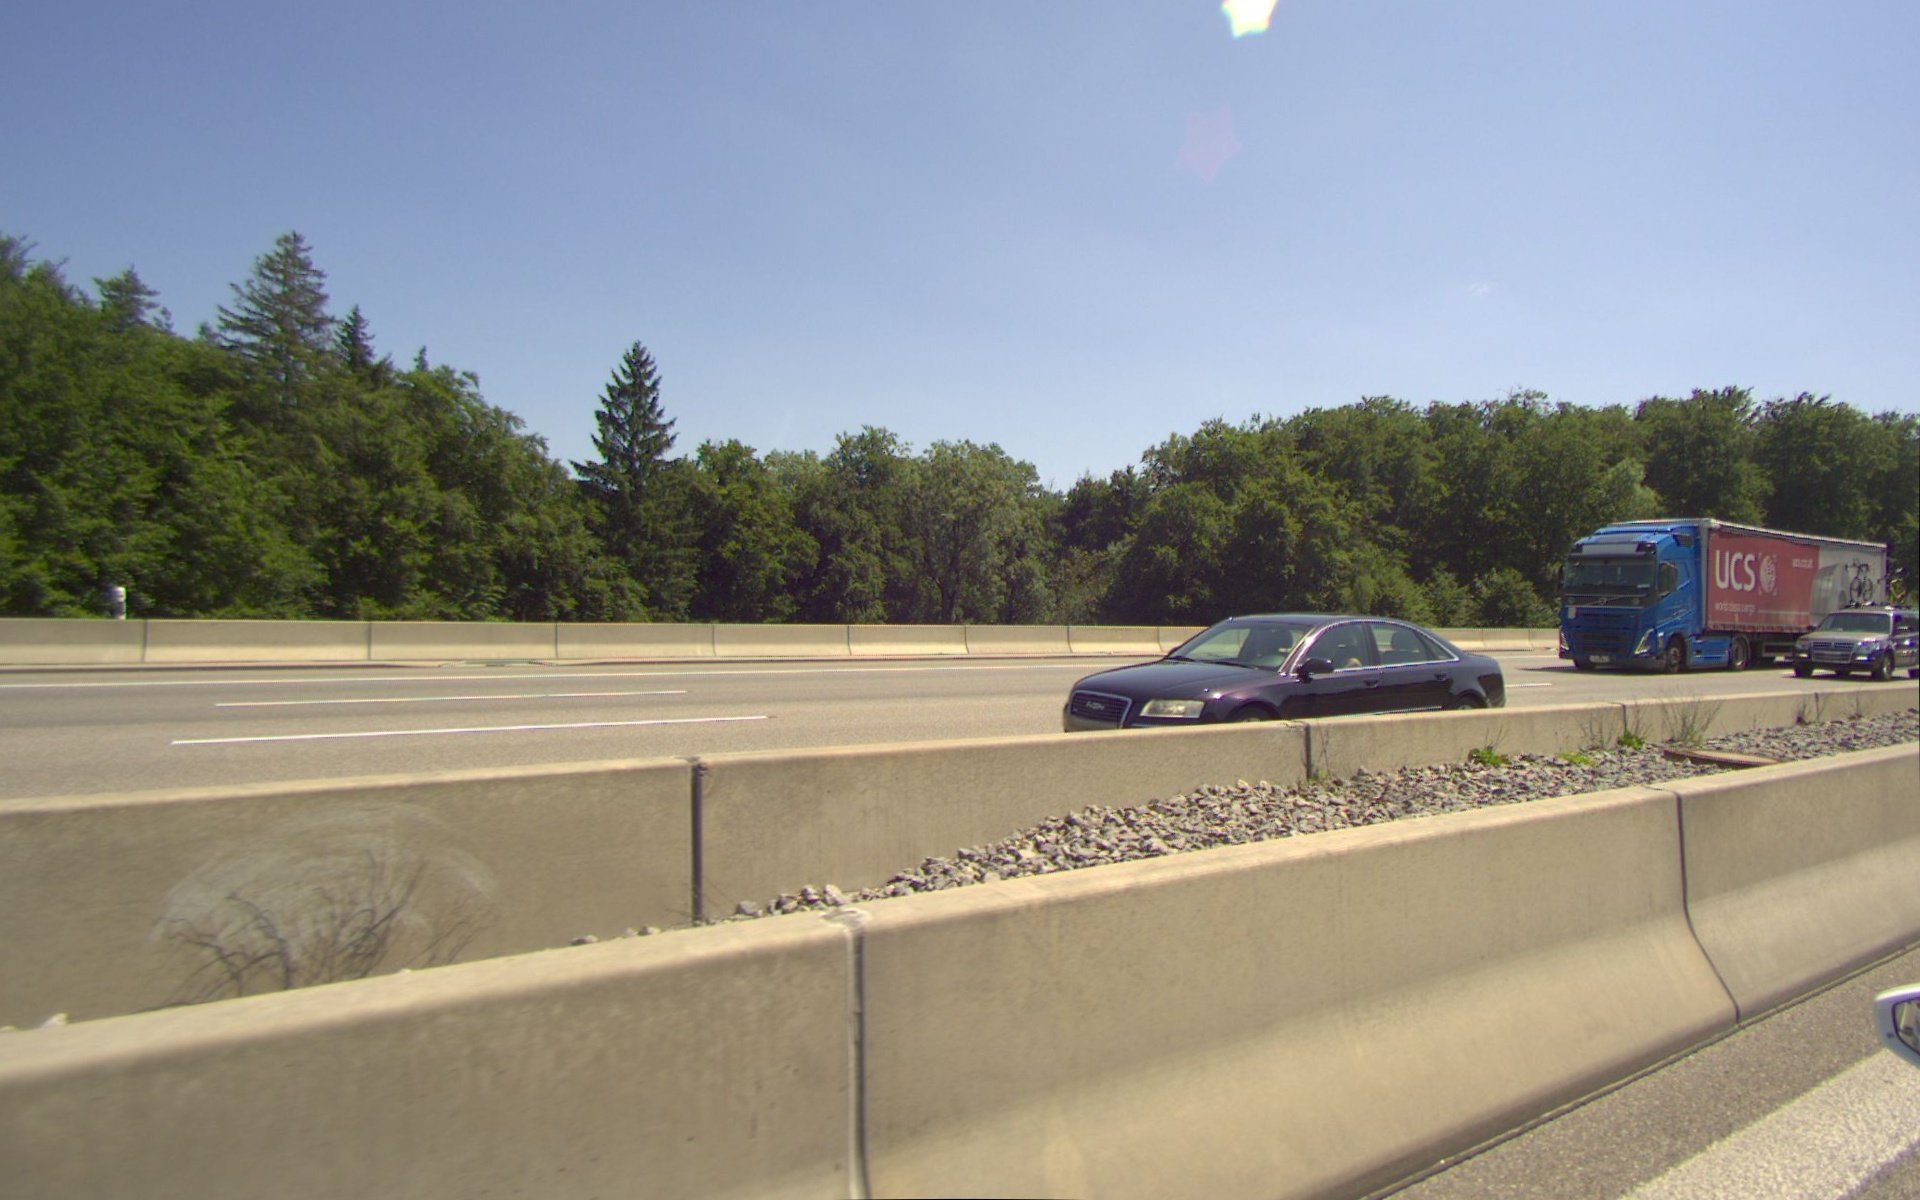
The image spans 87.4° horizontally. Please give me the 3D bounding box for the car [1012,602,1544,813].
[{"bbox_3d":[3.139,0.849,9.529,5.074,1.538,1.946,1,0,-31],"label":"car"}]

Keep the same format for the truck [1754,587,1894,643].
[{"bbox_3d":[39.731,0.729,46.097,8.719,2.284,2.037,2,1,-30],"label":"truck"}]

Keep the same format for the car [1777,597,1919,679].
[{"bbox_3d":[23.860,0.983,26.561,4.727,1.993,1.984,1,0,-30],"label":"car"}]

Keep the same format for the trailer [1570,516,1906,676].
[{"bbox_3d":[25.614,0.029,32.594,14.315,4.337,3.814,2,1,-32],"label":"trailer"}]

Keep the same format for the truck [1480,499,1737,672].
[{"bbox_3d":[17.893,-0.327,27.735,5.814,4.233,3.765,2,1,-32],"label":"truck"}]
